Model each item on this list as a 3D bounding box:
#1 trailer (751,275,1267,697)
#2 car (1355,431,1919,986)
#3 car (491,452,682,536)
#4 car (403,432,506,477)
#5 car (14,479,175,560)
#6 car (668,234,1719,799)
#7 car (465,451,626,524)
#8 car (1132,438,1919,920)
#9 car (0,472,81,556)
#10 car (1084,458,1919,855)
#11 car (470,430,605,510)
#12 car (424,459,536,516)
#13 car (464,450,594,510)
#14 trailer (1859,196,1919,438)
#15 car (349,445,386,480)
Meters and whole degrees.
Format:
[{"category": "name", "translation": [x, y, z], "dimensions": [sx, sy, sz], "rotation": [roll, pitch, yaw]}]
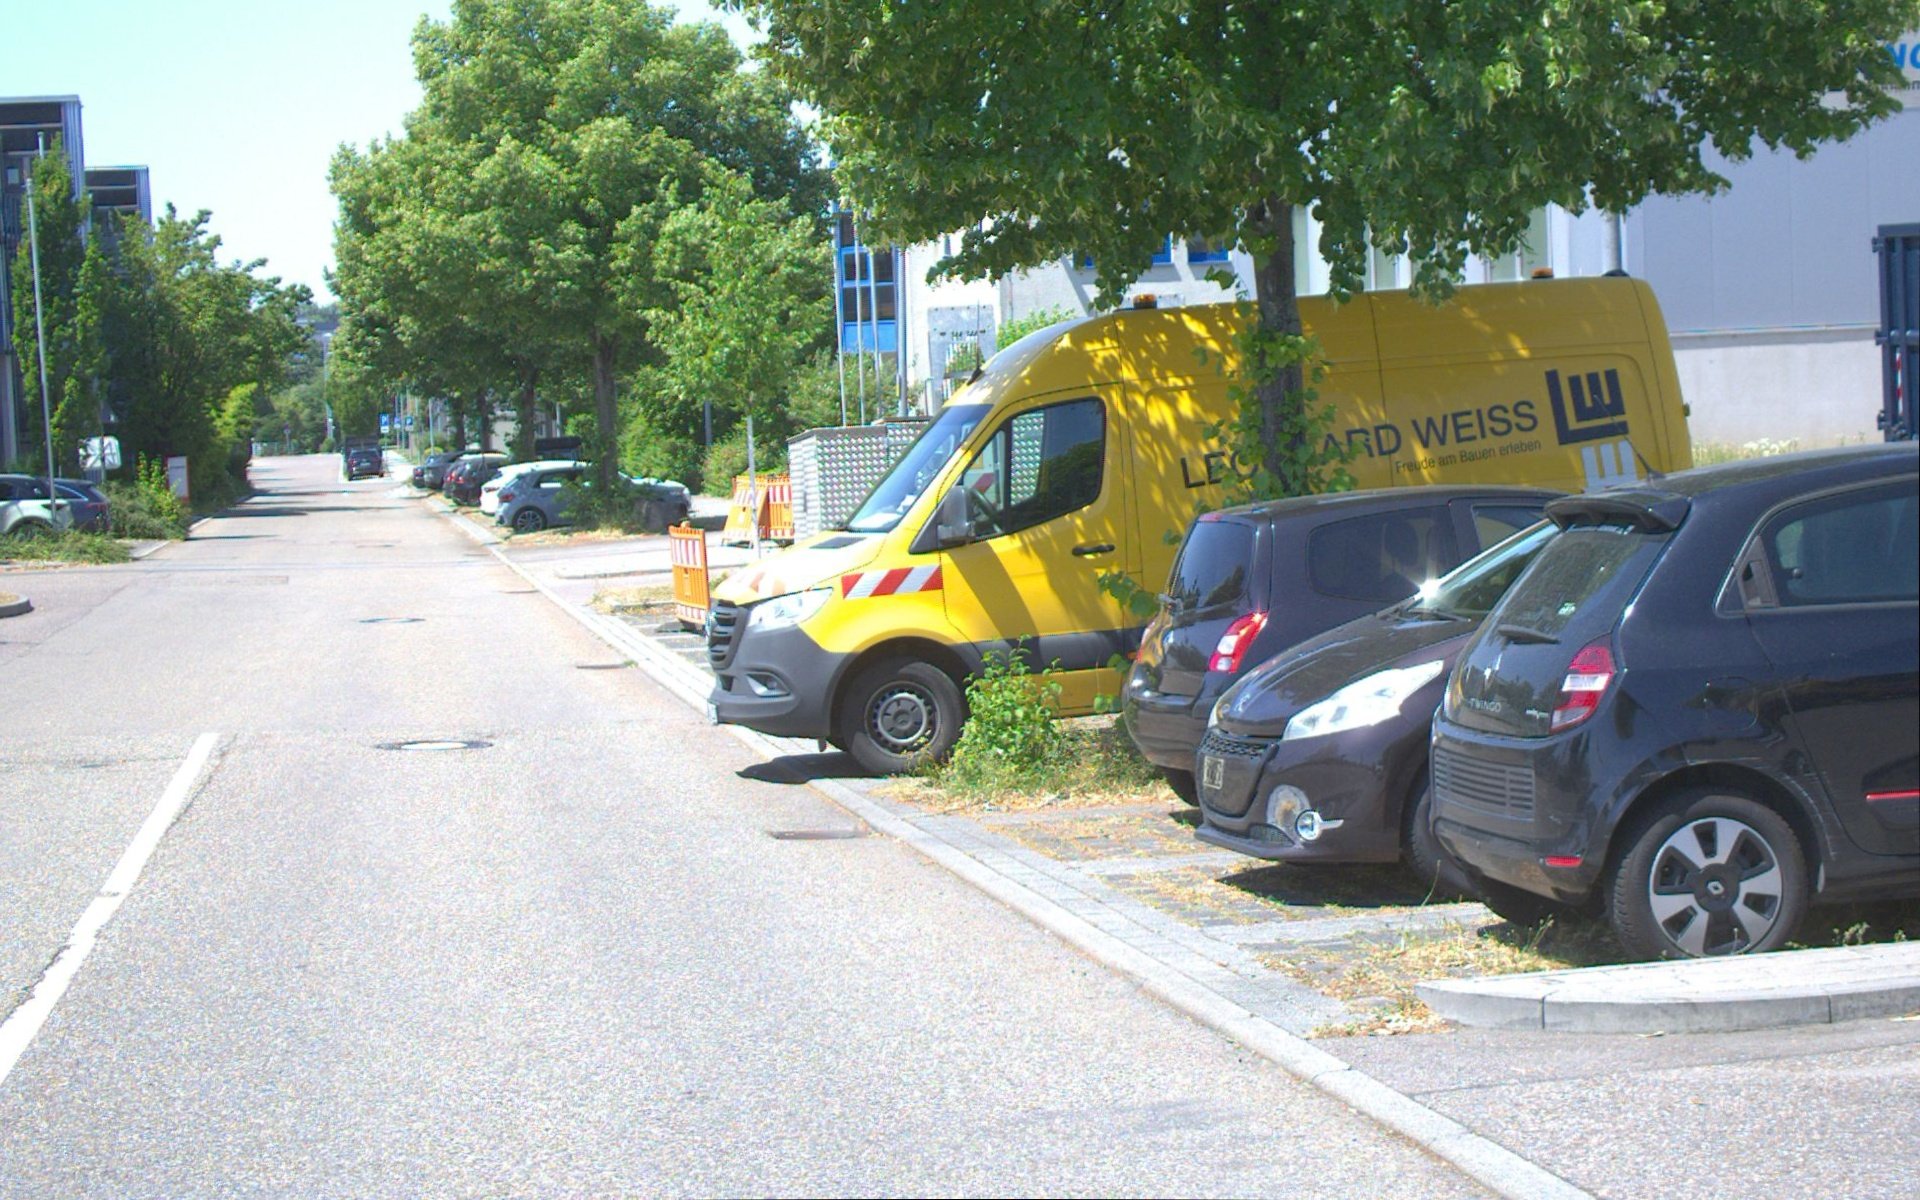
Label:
[{"category": "trailer", "translation": [0.224, -0.950, 27.896], "dimensions": [2.656, 2.847, 5.522], "rotation": [-6, 3, -13]}, {"category": "car", "translation": [3.331, 0.187, 11.103], "dimensions": [3.660, 1.457, 1.628], "rotation": [-6, 3, -9]}, {"category": "car", "translation": [-7.832, -2.227, 72.029], "dimensions": [3.678, 1.349, 1.646], "rotation": [-7, 4, -14]}, {"category": "car", "translation": [-20.940, -6.046, 142.461], "dimensions": [3.931, 1.572, 1.768], "rotation": [-4, 7, -17]}, {"category": "car", "translation": [-17.612, -1.651, 69.906], "dimensions": [3.057, 1.473, 1.293], "rotation": [-3, 3, -16]}, {"category": "car", "translation": [1.350, -0.569, 20.616], "dimensions": [5.778, 2.722, 2.001], "rotation": [-5, 4, -11]}, {"category": "car", "translation": [-9.847, -2.674, 81.631], "dimensions": [3.516, 1.349, 1.538], "rotation": [-7, 4, -14]}, {"category": "car", "translation": [2.743, 0.218, 13.371], "dimensions": [3.769, 1.502, 1.591], "rotation": [-5, 3, -12]}, {"category": "car", "translation": [-18.769, -1.558, 64.949], "dimensions": [4.045, 1.489, 1.729], "rotation": [-4, 3, -12]}, {"category": "car", "translation": [2.559, 0.198, 15.935], "dimensions": [3.601, 1.473, 1.628], "rotation": [-4, 3, -11]}, {"category": "car", "translation": [-12.349, -3.798, 100.394], "dimensions": [3.721, 2.103, 1.815], "rotation": [-3, 3, -10]}, {"category": "car", "translation": [-18.265, -4.276, 130.796], "dimensions": [3.931, 1.828, 1.768], "rotation": [-4, 7, -17]}, {"category": "car", "translation": [-13.045, -3.635, 103.968], "dimensions": [3.721, 1.621, 1.815], "rotation": [-3, 3, -10]}, {"category": "trailer", "translation": [11.257, -2.668, 32.500], "dimensions": [2.658, 2.411, 7.418], "rotation": [-3, 6, -8]}, {"category": "car", "translation": [-31.114, -7.213, 180.624], "dimensions": [1.761, 1.749, 3.946], "rotation": [-3, 3, -9]}]
